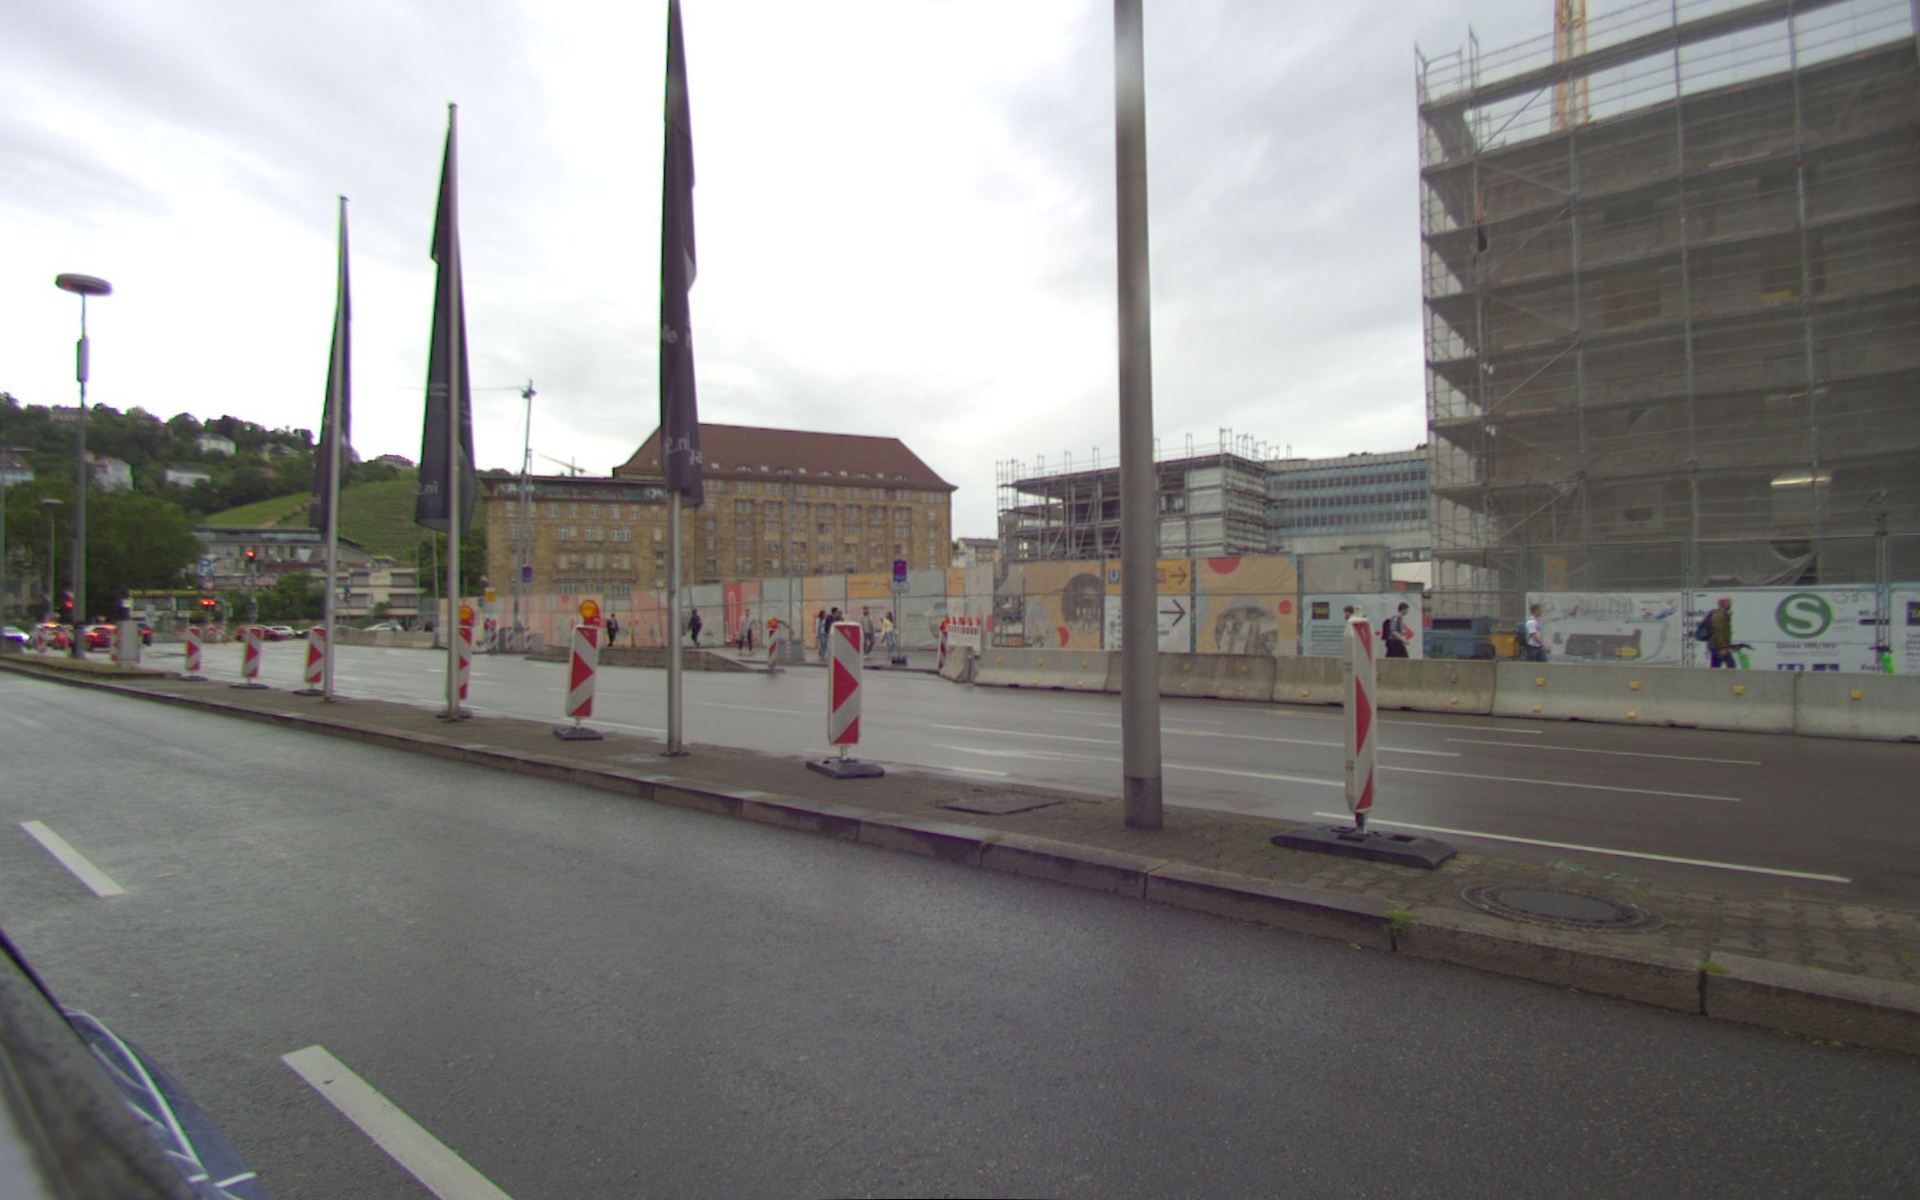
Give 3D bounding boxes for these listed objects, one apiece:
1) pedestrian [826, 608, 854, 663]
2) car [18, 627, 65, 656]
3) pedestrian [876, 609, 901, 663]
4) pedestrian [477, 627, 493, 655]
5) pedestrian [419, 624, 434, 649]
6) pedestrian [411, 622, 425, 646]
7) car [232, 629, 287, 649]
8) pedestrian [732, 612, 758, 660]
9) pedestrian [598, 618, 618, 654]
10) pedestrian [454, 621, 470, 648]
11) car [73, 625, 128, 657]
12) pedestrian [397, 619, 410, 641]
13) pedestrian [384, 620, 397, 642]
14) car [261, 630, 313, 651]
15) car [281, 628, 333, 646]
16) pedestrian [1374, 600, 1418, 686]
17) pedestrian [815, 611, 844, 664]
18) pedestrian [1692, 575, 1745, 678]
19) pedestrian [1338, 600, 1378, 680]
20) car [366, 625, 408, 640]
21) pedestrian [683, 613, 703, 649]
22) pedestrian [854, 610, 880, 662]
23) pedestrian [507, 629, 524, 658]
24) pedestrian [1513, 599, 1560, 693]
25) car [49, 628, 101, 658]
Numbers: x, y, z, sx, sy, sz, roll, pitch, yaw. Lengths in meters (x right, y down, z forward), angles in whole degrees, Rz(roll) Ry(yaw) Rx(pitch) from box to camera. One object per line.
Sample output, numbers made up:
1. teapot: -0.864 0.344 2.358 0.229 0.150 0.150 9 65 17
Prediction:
1. pedestrian: -4.170 1.216 35.064 0.704 1.850 0.719 -1 0 -31
2. car: -59.955 2.683 66.045 3.913 1.707 1.763 -1 0 40
3. pedestrian: -2.462 1.232 34.916 0.651 1.850 0.557 -1 0 -29
4. pedestrian: -28.103 2.394 59.856 0.544 1.628 0.706 -1 0 41
5. pedestrian: -35.108 2.409 66.547 0.544 1.628 0.706 -1 0 41
6. pedestrian: -38.010 2.383 70.934 0.544 1.628 0.706 -1 0 41
7. car: -61.052 3.386 88.193 3.934 1.644 2.005 0 -2 -36
8. pedestrian: -8.397 1.388 39.516 0.720 1.850 0.656 -1 0 41
9. pedestrian: -16.431 1.687 47.284 0.544 1.628 0.706 -1 0 41
10. pedestrian: -30.425 2.108 61.806 0.544 1.628 0.706 -1 0 41
11. car: -48.468 2.299 57.038 3.914 1.707 1.762 -2 -2 41
12. pedestrian: -41.308 2.203 75.133 0.705 1.628 0.544 -1 0 -44
13. pedestrian: -41.958 2.266 74.521 0.705 1.628 0.544 -1 0 -44
14. car: -68.702 4.115 103.364 4.136 1.871 1.833 -1 0 -44
15. car: -60.263 3.388 93.388 3.934 1.644 2.005 0 -2 -36
16. pedestrian: 9.586 0.939 22.260 0.717 1.850 0.579 -1 0 41
17. pedestrian: -4.359 1.243 33.858 0.704 1.746 0.719 -1 0 -31
18. pedestrian: 13.881 0.477 18.528 0.717 1.850 0.475 -1 0 41
19. pedestrian: 9.334 0.926 23.743 0.717 1.850 0.475 -1 0 41
20. car: -64.232 3.654 113.517 3.934 1.644 2.005 0 -2 -36
21. pedestrian: -12.299 1.412 46.564 0.544 1.628 0.706 -1 0 41
22. pedestrian: -3.208 1.225 34.773 0.704 1.757 0.565 -1 0 -29
23. pedestrian: -25.371 2.480 57.793 0.544 1.628 0.706 -1 0 41
24. pedestrian: 11.664 0.918 20.467 0.717 1.850 0.475 -1 0 41
25. car: -53.529 2.573 61.188 3.913 1.707 1.763 -1 0 40
